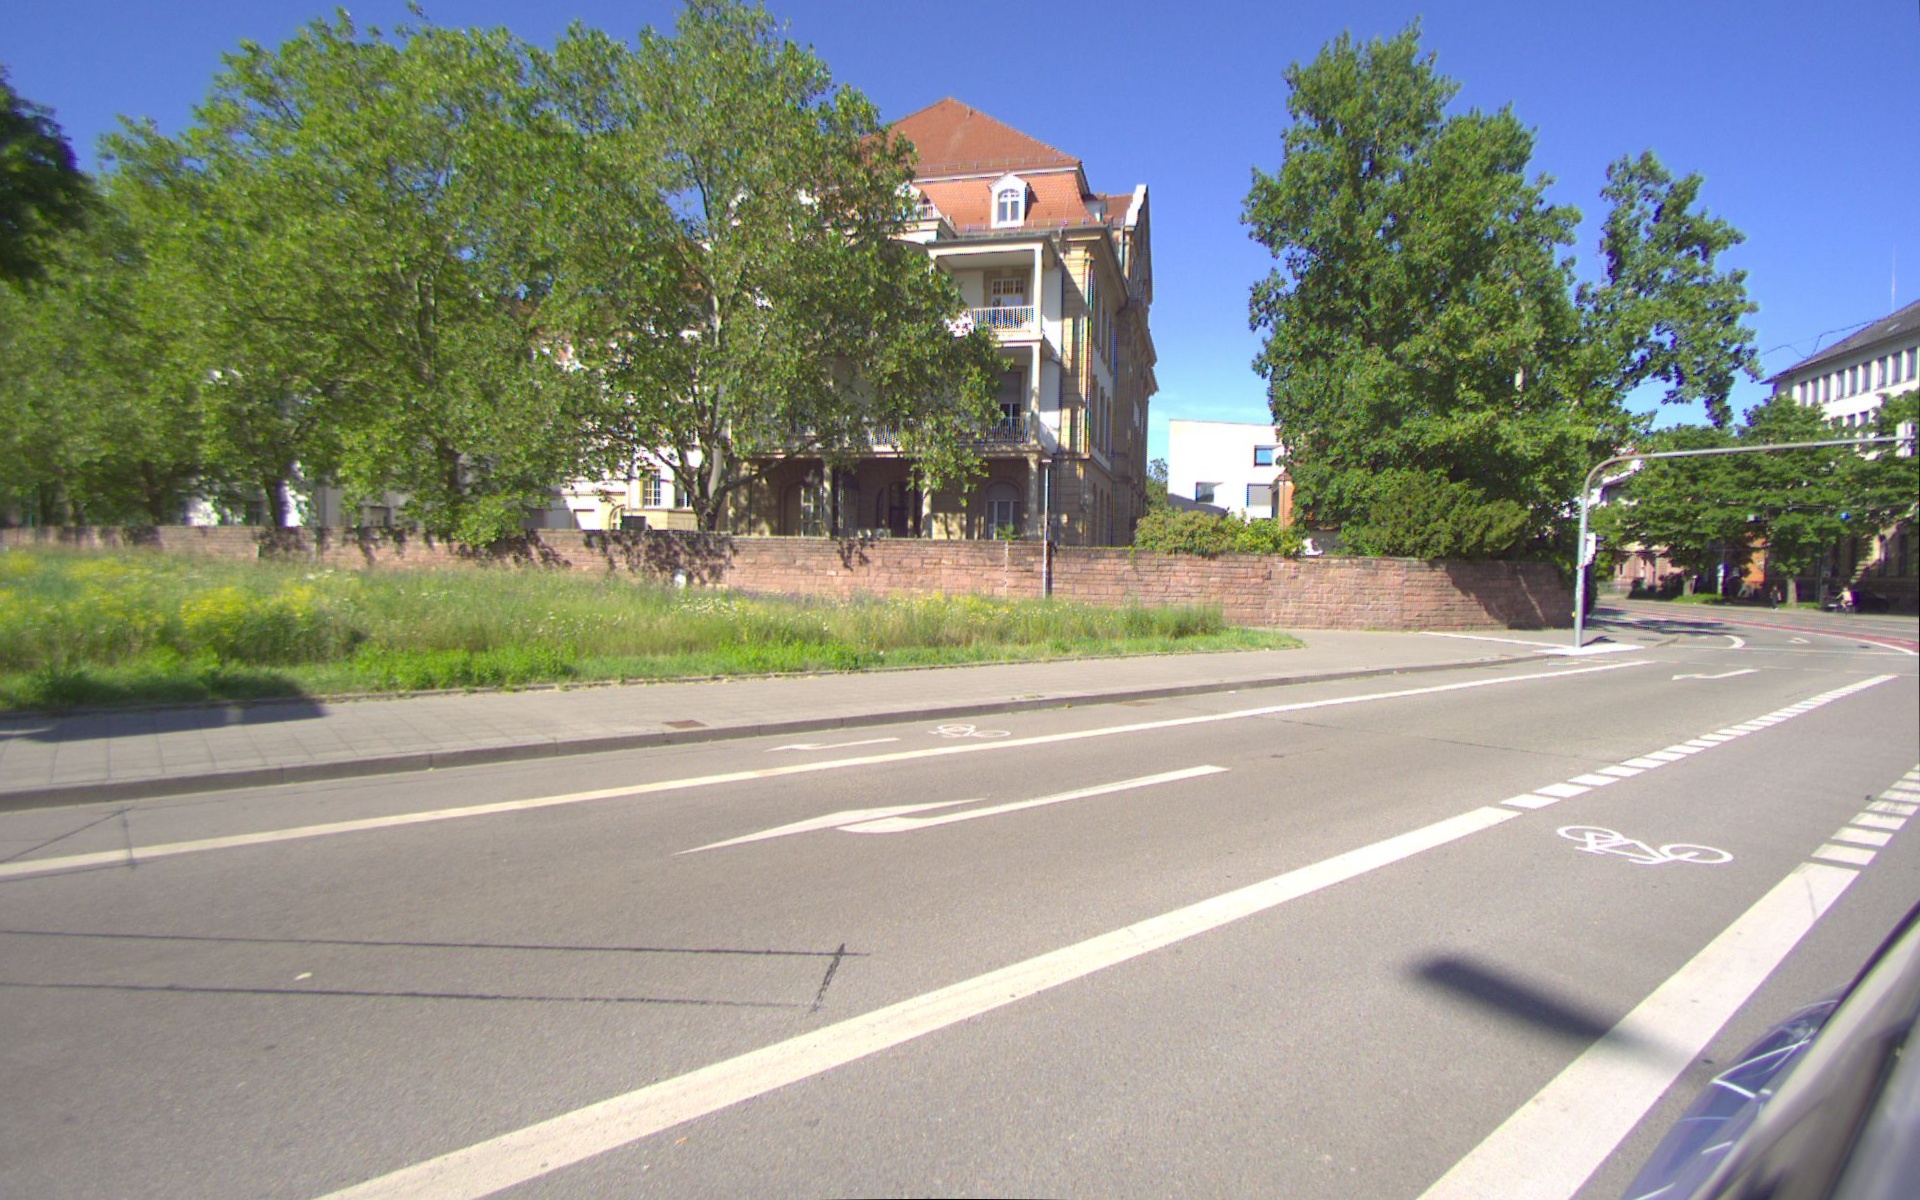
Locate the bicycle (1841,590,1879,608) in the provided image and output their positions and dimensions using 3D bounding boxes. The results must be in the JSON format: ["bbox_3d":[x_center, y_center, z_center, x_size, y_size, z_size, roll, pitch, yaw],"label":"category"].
[{"bbox_3d":[55.532,-0.070,62.436,0.720,1.003,1.834,1,2,3],"label":"bicycle"}]

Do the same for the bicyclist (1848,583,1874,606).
[{"bbox_3d":[55.528,-0.337,62.388,0.720,1.402,0.895,1,1,3],"label":"bicyclist"}]

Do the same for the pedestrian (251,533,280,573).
[{"bbox_3d":[-26.022,-1.743,37.909,0.516,1.461,0.721,0,0,20],"label":"pedestrian"}]

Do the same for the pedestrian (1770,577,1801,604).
[{"bbox_3d":[59.363,-0.688,72.795,1.366,1.844,0.937,1,1,4],"label":"pedestrian"}]

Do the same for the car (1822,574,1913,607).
[{"bbox_3d":[61.199,-0.644,68.256,4.615,2.038,2.004,1,2,-9],"label":"car"}]
